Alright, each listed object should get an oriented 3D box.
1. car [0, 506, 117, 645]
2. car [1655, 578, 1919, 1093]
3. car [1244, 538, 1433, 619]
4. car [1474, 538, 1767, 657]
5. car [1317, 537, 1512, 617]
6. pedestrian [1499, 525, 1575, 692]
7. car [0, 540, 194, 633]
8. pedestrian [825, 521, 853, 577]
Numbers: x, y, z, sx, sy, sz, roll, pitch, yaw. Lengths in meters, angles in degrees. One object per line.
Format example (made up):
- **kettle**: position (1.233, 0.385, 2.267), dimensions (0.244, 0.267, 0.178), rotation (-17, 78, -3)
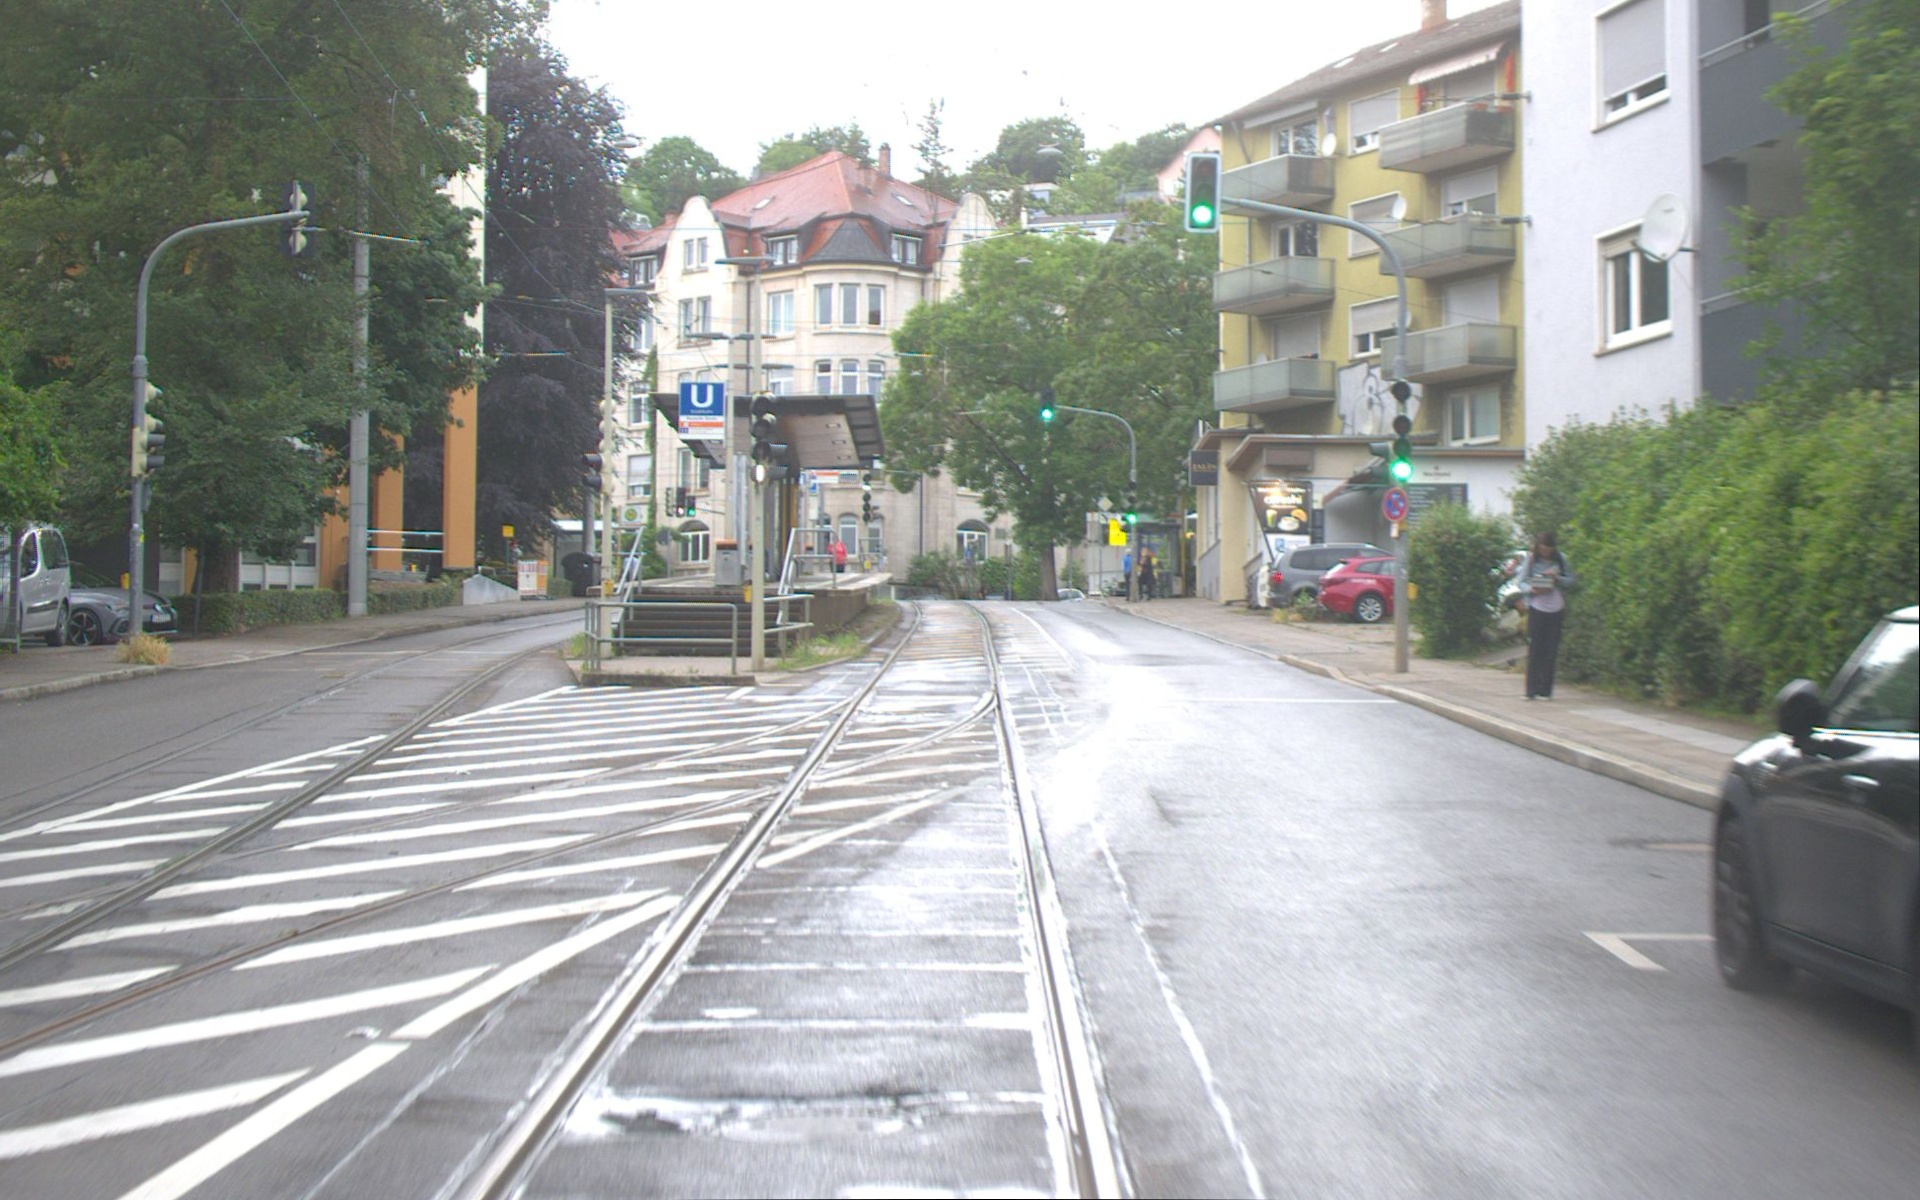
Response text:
- **car**: position (-13.400, -0.327, 48.121), dimensions (1.994, 1.678, 3.999), rotation (1, -3, 3)
- **car**: position (3.504, 0.673, 10.958), dimensions (1.704, 1.421, 3.862), rotation (2, 0, -1)
- **car**: position (8.436, -0.466, 76.864), dimensions (3.987, 1.640, 1.807), rotation (1, -2, 0)
- **car**: position (9.856, -0.022, 51.461), dimensions (3.987, 1.640, 1.807), rotation (1, -2, -1)
- **car**: position (9.642, -0.473, 73.145), dimensions (3.842, 1.537, 1.807), rotation (1, -2, -1)
- **pedestrian**: position (5.709, 0.089, 34.023), dimensions (0.644, 1.623, 0.699), rotation (1, -1, 3)
- **car**: position (-14.666, -0.208, 56.048), dimensions (3.992, 1.401, 1.680), rotation (0, -4, 23)
- **pedestrian**: position (-3.336, -1.402, 94.820), dimensions (0.657, 1.462, 0.772), rotation (1, -3, 3)
